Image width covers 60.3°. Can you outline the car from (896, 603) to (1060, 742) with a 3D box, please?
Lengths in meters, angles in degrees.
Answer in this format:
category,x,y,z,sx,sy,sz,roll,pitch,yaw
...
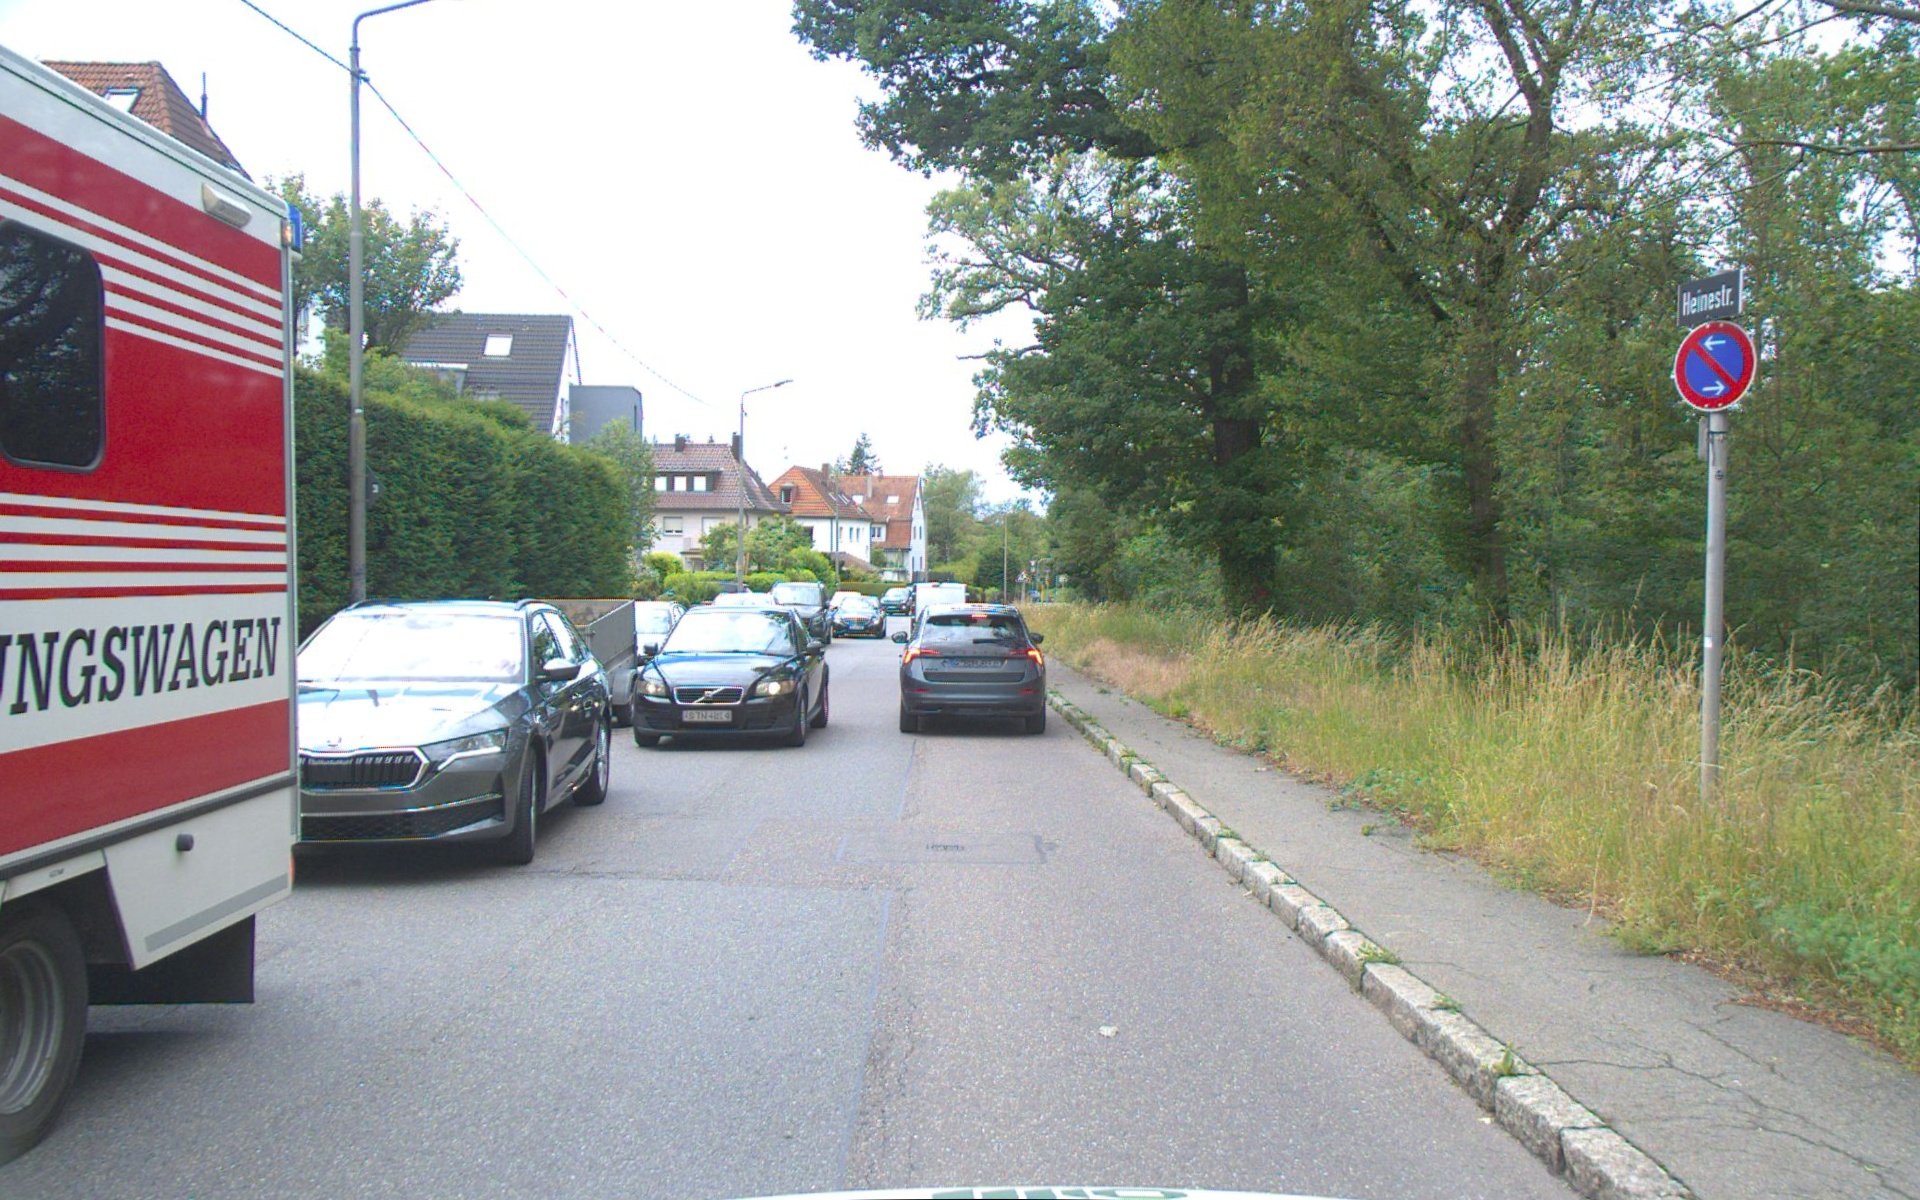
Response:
category,x,y,z,sx,sy,sz,roll,pitch,yaw
car,0.116,0.806,20.429,1.693,1.464,4.320,1,0,-4

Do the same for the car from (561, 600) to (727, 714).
category,x,y,z,sx,sy,sz,roll,pitch,yaw
car,-4.712,0.795,25.291,1.728,1.525,4.472,-1,0,-1

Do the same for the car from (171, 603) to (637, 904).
category,x,y,z,sx,sy,sz,roll,pitch,yaw
car,-3.215,0.766,10.529,1.728,1.471,4.470,0,0,-4

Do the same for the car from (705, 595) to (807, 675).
category,x,y,z,sx,sy,sz,roll,pitch,yaw
car,-4.589,0.759,37.714,1.801,1.677,4.185,-1,0,-1

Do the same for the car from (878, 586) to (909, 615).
category,x,y,z,sx,sy,sz,roll,pitch,yaw
car,-4.030,-0.007,100.464,1.796,1.625,4.323,1,1,-2

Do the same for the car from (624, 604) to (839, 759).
category,x,y,z,sx,sy,sz,roll,pitch,yaw
car,-2.375,0.789,18.247,1.727,1.471,4.473,0,0,0

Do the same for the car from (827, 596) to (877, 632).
category,x,y,z,sx,sy,sz,roll,pitch,yaw
car,-4.860,0.606,74.909,1.746,1.526,4.017,2,0,4

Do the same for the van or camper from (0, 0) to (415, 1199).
category,x,y,z,sx,sy,sz,roll,pitch,yaw
van or camper,-3.455,-0.005,3.287,2.406,2.945,7.167,0,0,0

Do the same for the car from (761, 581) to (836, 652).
category,x,y,z,sx,sy,sz,roll,pitch,yaw
car,-4.766,0.455,49.477,1.825,1.960,5.036,2,0,-2

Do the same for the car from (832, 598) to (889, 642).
category,x,y,z,sx,sy,sz,roll,pitch,yaw
car,-3.497,0.691,58.695,1.825,1.439,4.590,2,0,-2

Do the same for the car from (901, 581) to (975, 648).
category,x,y,z,sx,sy,sz,roll,pitch,yaw
car,-0.753,0.423,52.322,2.031,1.956,4.918,1,0,-4

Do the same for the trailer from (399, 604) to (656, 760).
category,x,y,z,sx,sy,sz,roll,pitch,yaw
trailer,-4.712,0.819,18.677,1.727,1.522,4.473,0,0,0
